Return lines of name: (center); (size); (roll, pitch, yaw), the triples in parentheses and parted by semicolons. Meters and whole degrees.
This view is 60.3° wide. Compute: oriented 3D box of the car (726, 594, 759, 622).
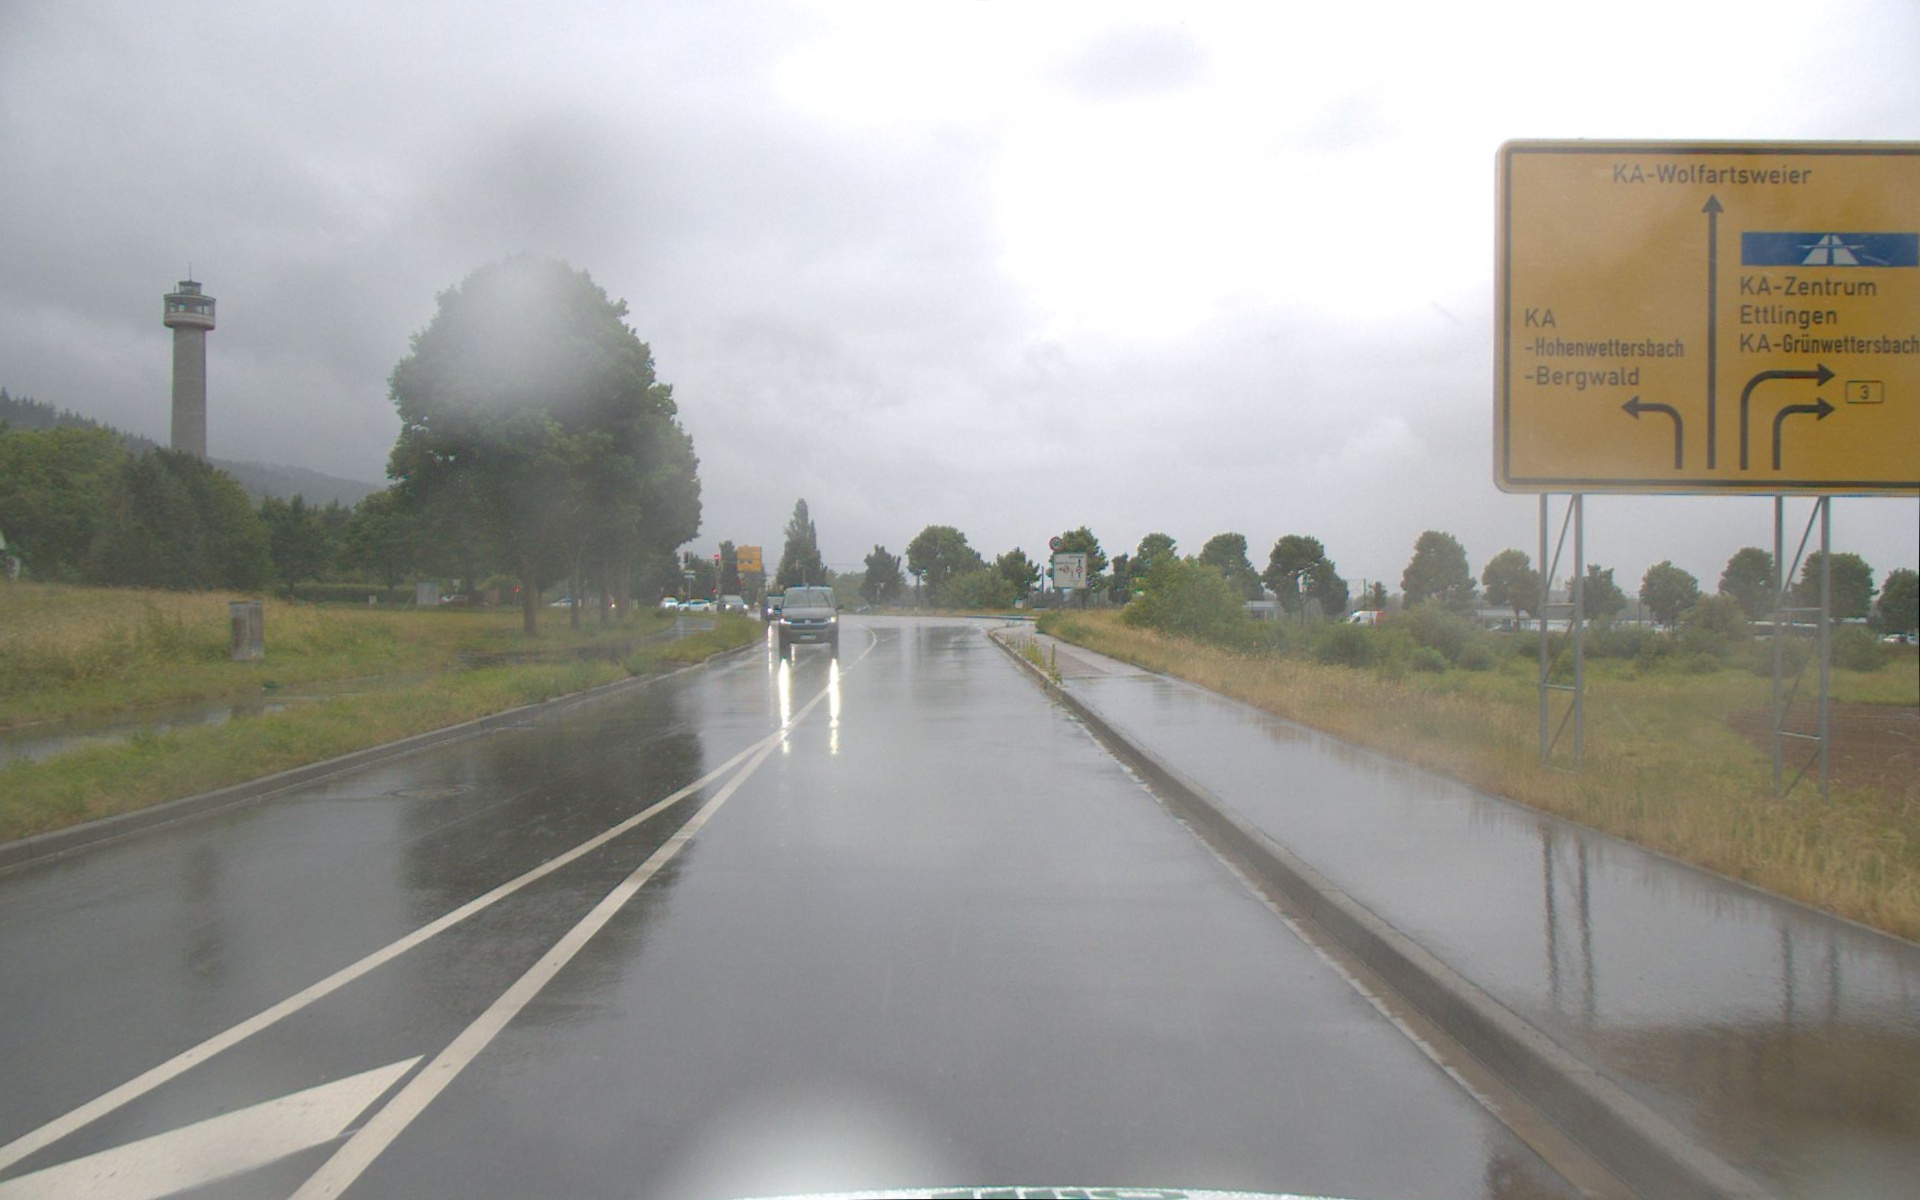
car: (-16.852, 0.592, 127.952); (1.961, 2.049, 3.983); (2, 0, -16)

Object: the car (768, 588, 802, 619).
car: (-10.936, 0.211, 103.095); (1.870, 1.751, 3.993); (-3, 1, -8)

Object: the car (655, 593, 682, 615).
car: (-29.460, 0.434, 167.031); (1.964, 2.049, 3.977); (3, 0, -20)

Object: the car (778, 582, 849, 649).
car: (-4.640, 0.462, 53.109); (1.953, 2.007, 4.955); (-2, 0, -2)
